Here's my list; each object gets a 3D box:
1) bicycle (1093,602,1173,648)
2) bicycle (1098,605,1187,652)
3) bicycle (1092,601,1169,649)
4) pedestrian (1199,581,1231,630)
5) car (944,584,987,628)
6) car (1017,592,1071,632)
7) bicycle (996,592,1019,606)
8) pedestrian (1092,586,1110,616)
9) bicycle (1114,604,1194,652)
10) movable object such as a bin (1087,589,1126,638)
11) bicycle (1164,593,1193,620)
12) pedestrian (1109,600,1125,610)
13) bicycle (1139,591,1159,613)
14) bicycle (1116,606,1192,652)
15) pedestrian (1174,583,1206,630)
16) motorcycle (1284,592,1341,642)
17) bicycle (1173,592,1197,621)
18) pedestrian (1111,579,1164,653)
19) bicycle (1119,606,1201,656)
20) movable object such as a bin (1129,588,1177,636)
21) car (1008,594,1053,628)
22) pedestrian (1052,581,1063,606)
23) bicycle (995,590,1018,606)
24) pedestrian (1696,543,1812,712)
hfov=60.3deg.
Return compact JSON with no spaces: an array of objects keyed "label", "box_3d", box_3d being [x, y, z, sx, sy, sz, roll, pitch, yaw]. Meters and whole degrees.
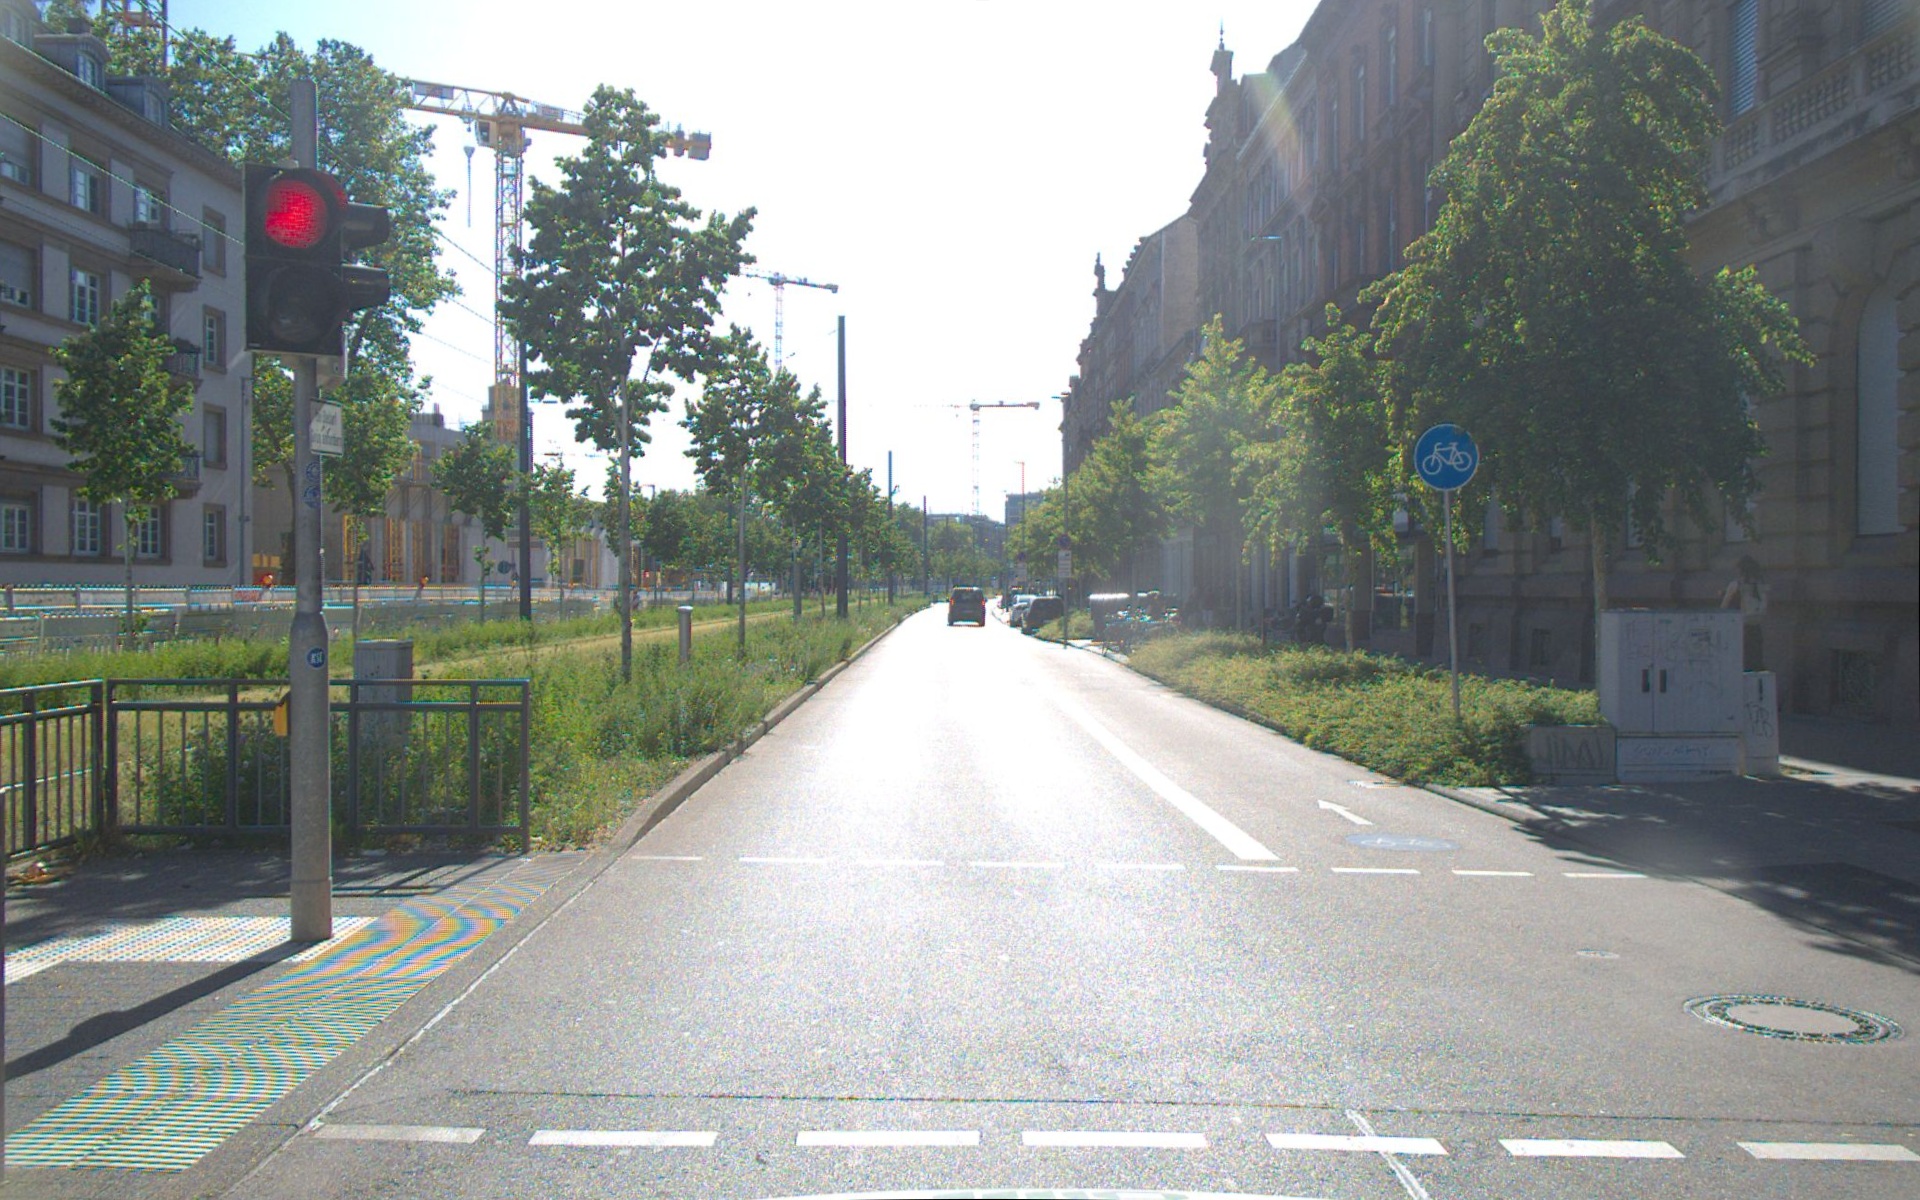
[{"label":"bicycle","box_3d":[4.599,0.666,44.088,2.004,1.126,0.610,-3,0,-7]},{"label":"bicycle","box_3d":[4.703,0.724,42.662,2.247,1.121,0.484,-2,0,-15]},{"label":"bicycle","box_3d":[4.589,0.670,44.496,1.937,1.143,0.481,-4,1,-6]},{"label":"pedestrian","box_3d":[8.963,0.182,58.185,0.951,1.667,0.992,-1,1,-1]},{"label":"car","box_3d":[0.256,0.291,80.838,1.953,2.049,3.998,1,0,-2]},{"label":"car","box_3d":[3.396,0.475,67.604,1.730,1.502,4.446,-2,0,-3]},{"label":"bicycle","box_3d":[4.011,-0.088,139.222,1.790,1.097,0.664,-3,0,-7]},{"label":"pedestrian","box_3d":[8.415,0.072,98.804,0.976,1.762,0.866,1,-1,-1]},{"label":"bicycle","box_3d":[4.863,0.694,41.499,1.938,1.127,0.435,-2,0,-4]},{"label":"movable object such as a bin","box_3d":[4.846,0.432,54.747,1.244,1.488,1.645,1,2,4]},{"label":"bicycle","box_3d":[9.644,0.261,73.029,0.858,1.124,2.180,-3,0,-3]},{"label":"pedestrian","box_3d":[9.595,0.307,100.989,0.757,0.562,2.007,-1,1,-1]},{"label":"bicycle","box_3d":[9.607,0.101,84.215,0.706,1.109,2.198,-1,0,0]},{"label":"bicycle","box_3d":[4.824,0.726,41.154,1.780,1.074,0.571,-2,0,-7]},{"label":"pedestrian","box_3d":[8.078,0.208,58.077,0.931,1.594,1.080,-1,1,-1]},{"label":"motorcycle","box_3d":[9.451,0.455,44.508,0.848,1.288,2.981,1,0,-1]},{"label":"bicycle","box_3d":[9.500,0.281,69.961,0.732,1.222,1.800,-1,0,-1]},{"label":"pedestrian","box_3d":[4.420,0.403,41.188,0.889,1.766,0.842,-4,0,-27]},{"label":"bicycle","box_3d":[4.798,0.735,39.681,1.855,1.128,0.517,-2,0,-6]},{"label":"movable object such as a bin","box_3d":[6.409,0.403,54.944,1.345,1.521,1.749,-3,0,0]},{"label":"car","box_3d":[3.396,0.502,80.310,1.912,1.521,5.104,-2,0,0]},{"label":"pedestrian","box_3d":[8.145,-0.532,137.797,0.801,2.049,1.046,1,-2,0]},{"label":"bicycle","box_3d":[3.893,-0.160,137.686,1.843,1.255,0.499,-3,0,-6]},{"label":"pedestrian","box_3d":[9.537,0.320,19.907,0.871,1.953,1.098,-2,0,4]}]
